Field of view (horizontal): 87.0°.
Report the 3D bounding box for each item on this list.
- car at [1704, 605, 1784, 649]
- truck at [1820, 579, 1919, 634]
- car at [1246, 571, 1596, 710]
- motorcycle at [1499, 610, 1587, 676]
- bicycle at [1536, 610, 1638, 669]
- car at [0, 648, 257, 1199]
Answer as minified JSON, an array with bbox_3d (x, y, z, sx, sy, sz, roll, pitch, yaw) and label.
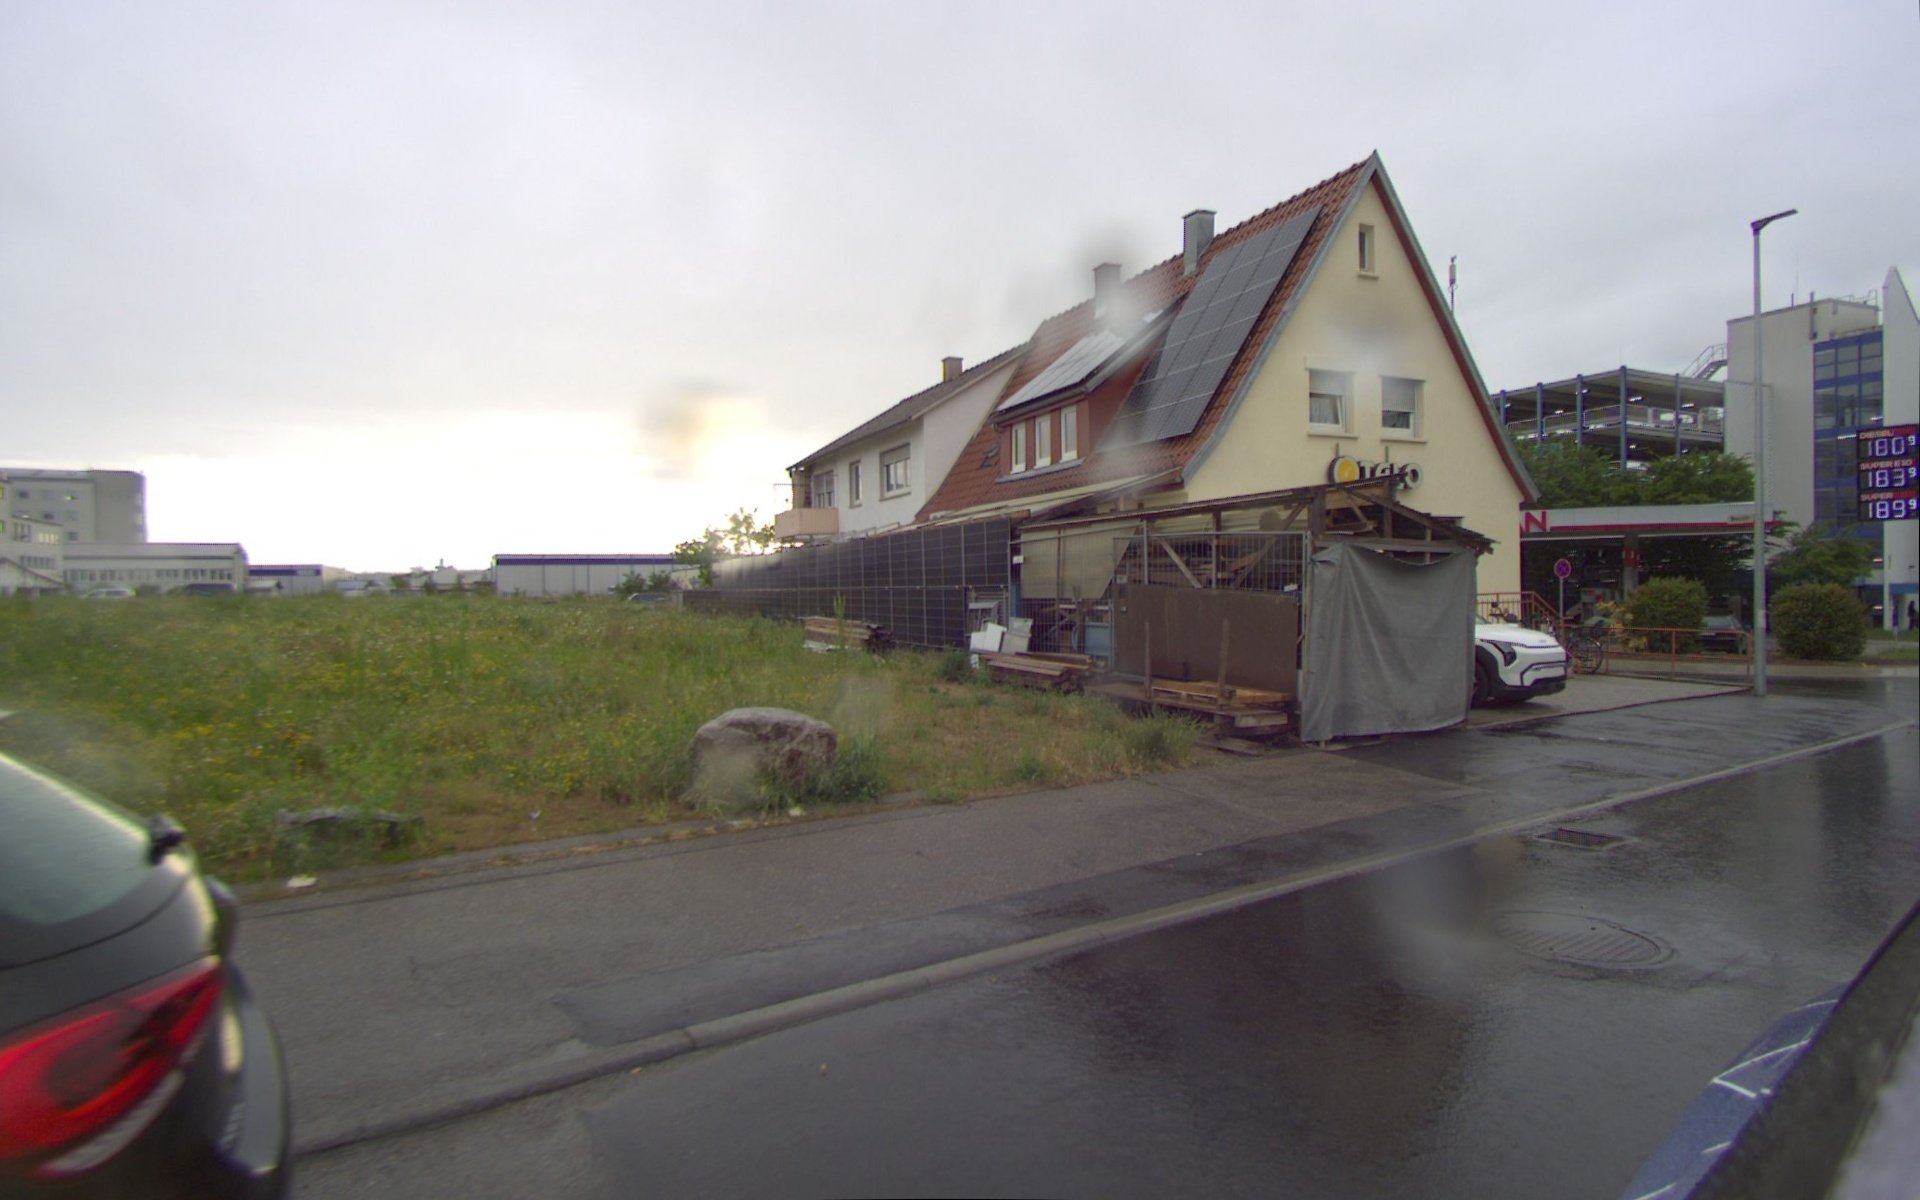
[{"bbox_3d":[26.449,0.860,34.107,1.689,1.356,4.271,0,0,44],"label":"car"},{"bbox_3d":[41.858,0.350,43.452,2.049,2.234,7.290,3,0,-41],"label":"truck"},{"bbox_3d":[6.469,0.436,14.633,1.827,1.630,4.229,-1,3,-37],"label":"car"},{"bbox_3d":[10.260,0.737,17.782,1.961,1.110,0.489,1,-1,-32],"label":"motorcycle"},{"bbox_3d":[12.383,0.757,20.056,0.479,1.110,1.779,1,-1,-22],"label":"bicycle"},{"bbox_3d":[-3.016,0.802,0.588,4.240,1.353,1.773,0,-1,-37],"label":"car"}]
